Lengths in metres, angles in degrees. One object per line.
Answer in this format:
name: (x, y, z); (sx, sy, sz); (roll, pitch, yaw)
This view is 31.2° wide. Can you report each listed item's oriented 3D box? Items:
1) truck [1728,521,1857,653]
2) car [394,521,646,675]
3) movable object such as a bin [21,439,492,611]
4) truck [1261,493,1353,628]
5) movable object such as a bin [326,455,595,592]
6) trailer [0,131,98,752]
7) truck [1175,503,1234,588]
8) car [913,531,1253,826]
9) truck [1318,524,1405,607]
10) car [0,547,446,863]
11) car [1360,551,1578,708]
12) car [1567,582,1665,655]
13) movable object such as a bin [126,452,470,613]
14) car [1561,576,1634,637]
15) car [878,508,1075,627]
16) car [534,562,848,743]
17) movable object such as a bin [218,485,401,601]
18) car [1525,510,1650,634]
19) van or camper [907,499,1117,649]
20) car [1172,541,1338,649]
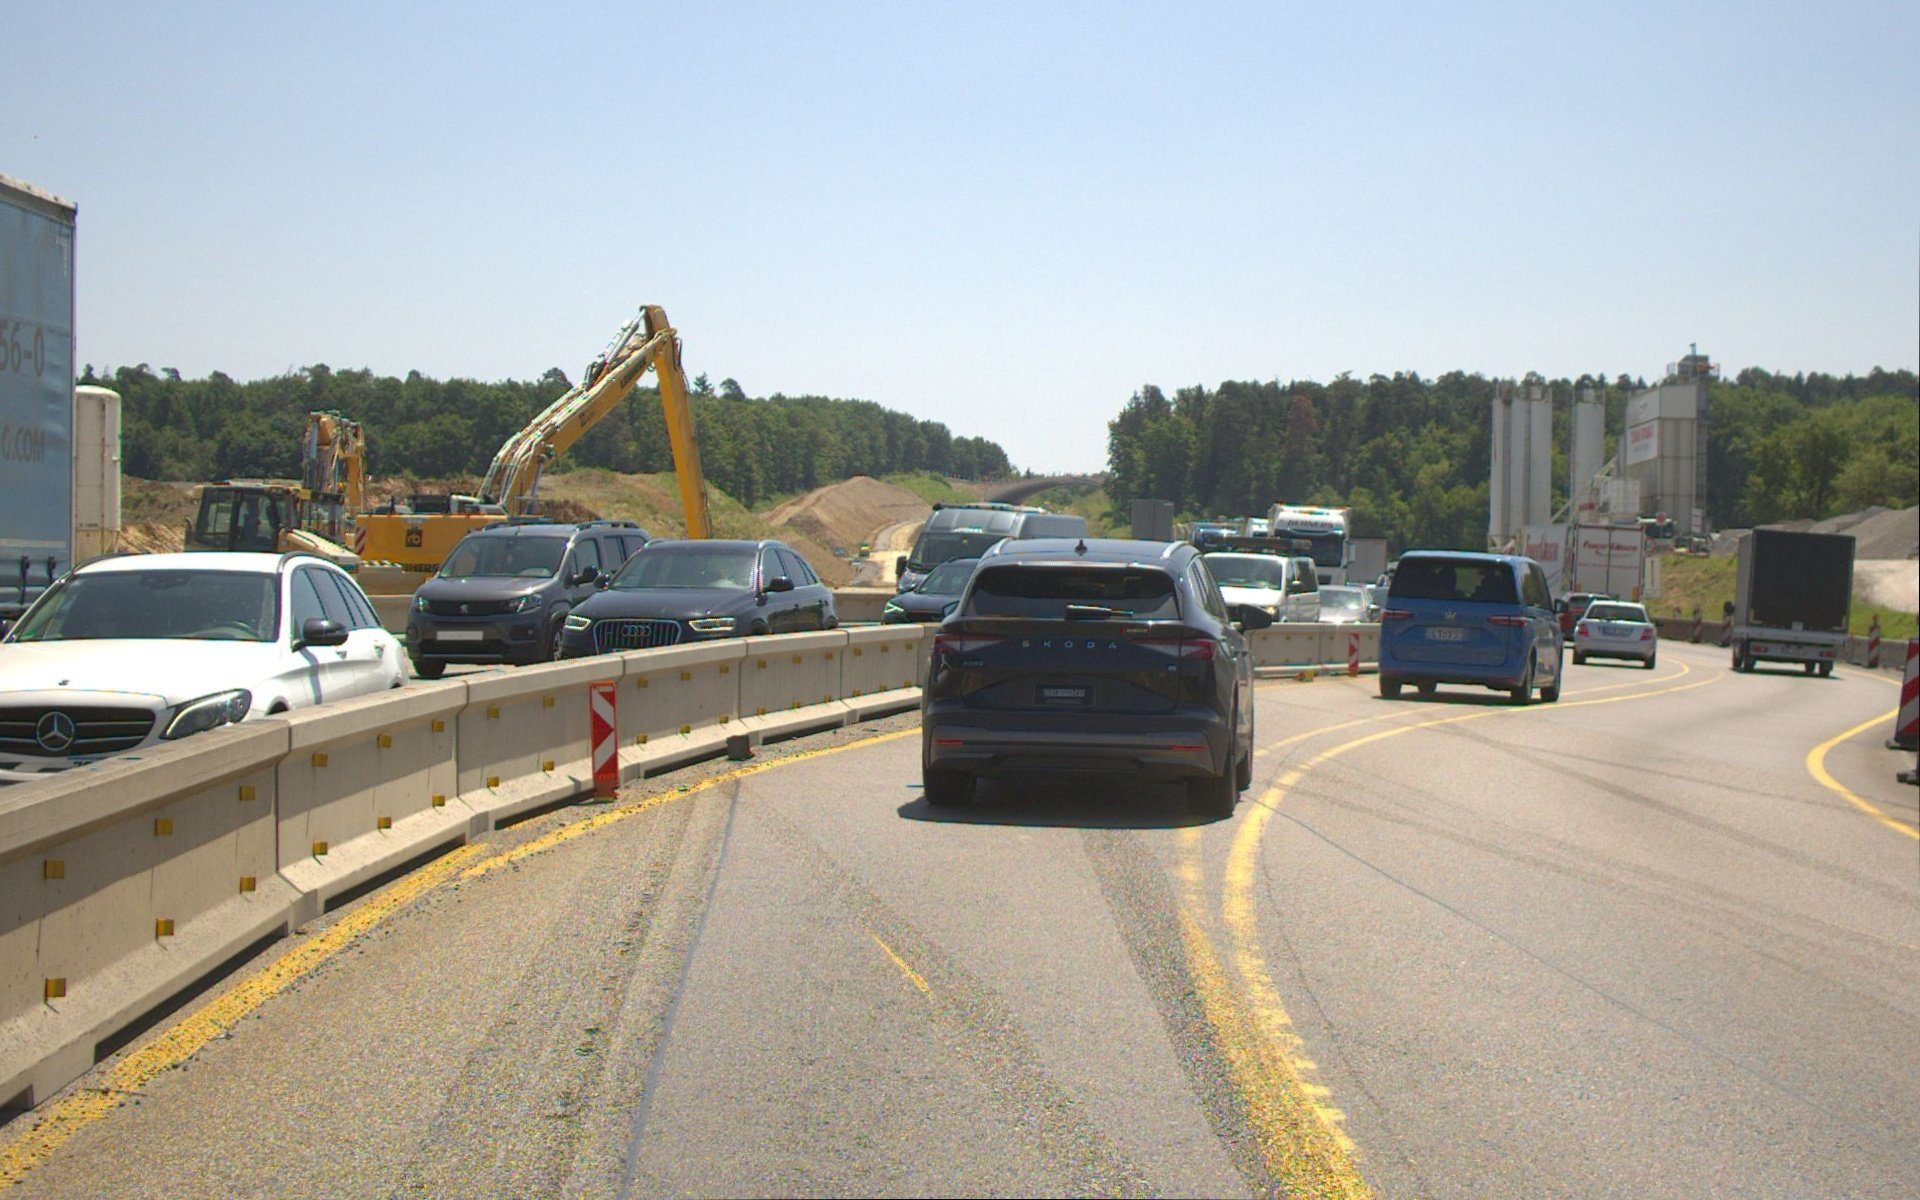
truck: (19.447, -0.335, 80.545); (2.674, 2.935, 5.617); (1, 1, 12)
car: (-5.255, -0.054, 41.663); (1.776, 1.759, 4.708); (0, 1, 9)
movable object such as a bin: (-12.636, -1.359, 61.474); (7.921, 2.424, 3.711); (5, 2, 35)
truck: (11.453, -1.333, 113.880); (2.771, 4.245, 6.198); (2, 1, 5)
movable object such as a bin: (-10.293, -1.544, 71.410); (3.295, 2.432, 5.435); (6, 1, 18)
trailer: (-7.915, -0.936, 18.219); (2.914, 4.114, 13.917); (1, 1, 1)
truck: (12.529, -2.789, 176.166); (2.773, 4.123, 10.869); (2, 1, 4)
car: (0.840, 0.399, 21.173); (1.843, 1.576, 3.999); (2, 1, 5)
truck: (22.690, -2.012, 194.847); (3.476, 4.206, 10.377); (6, 2, 1)
car: (-4.254, 0.461, 18.626); (2.016, 1.439, 4.587); (2, 1, 3)
car: (6.597, 0.340, 44.227); (1.995, 1.837, 3.996); (3, 1, 19)
car: (14.594, 0.387, 76.317); (2.046, 1.521, 5.063); (1, 1, 12)
movable object such as a bin: (-13.095, -1.336, 67.953); (6.059, 2.753, 2.807); (4, 2, 26)
car: (18.725, 0.174, 101.142); (1.821, 1.638, 3.864); (3, 1, 7)
car: (0.276, -0.430, 44.927); (1.690, 1.476, 4.468); (0, 1, 12)
car: (-2.484, 0.437, 33.004); (1.769, 1.602, 4.708); (0, 1, 12)
movable object such as a bin: (-17.803, -1.617, 94.371); (3.665, 3.015, 4.992); (1, 2, 6)
car: (23.007, -1.063, 126.504); (3.437, 4.087, 9.195); (5, 1, 6)
van or camper: (1.020, -0.473, 61.583); (2.100, 2.532, 6.300); (1, 1, 17)
car: (5.366, -0.067, 62.031); (1.874, 1.866, 5.053); (0, 0, 18)
